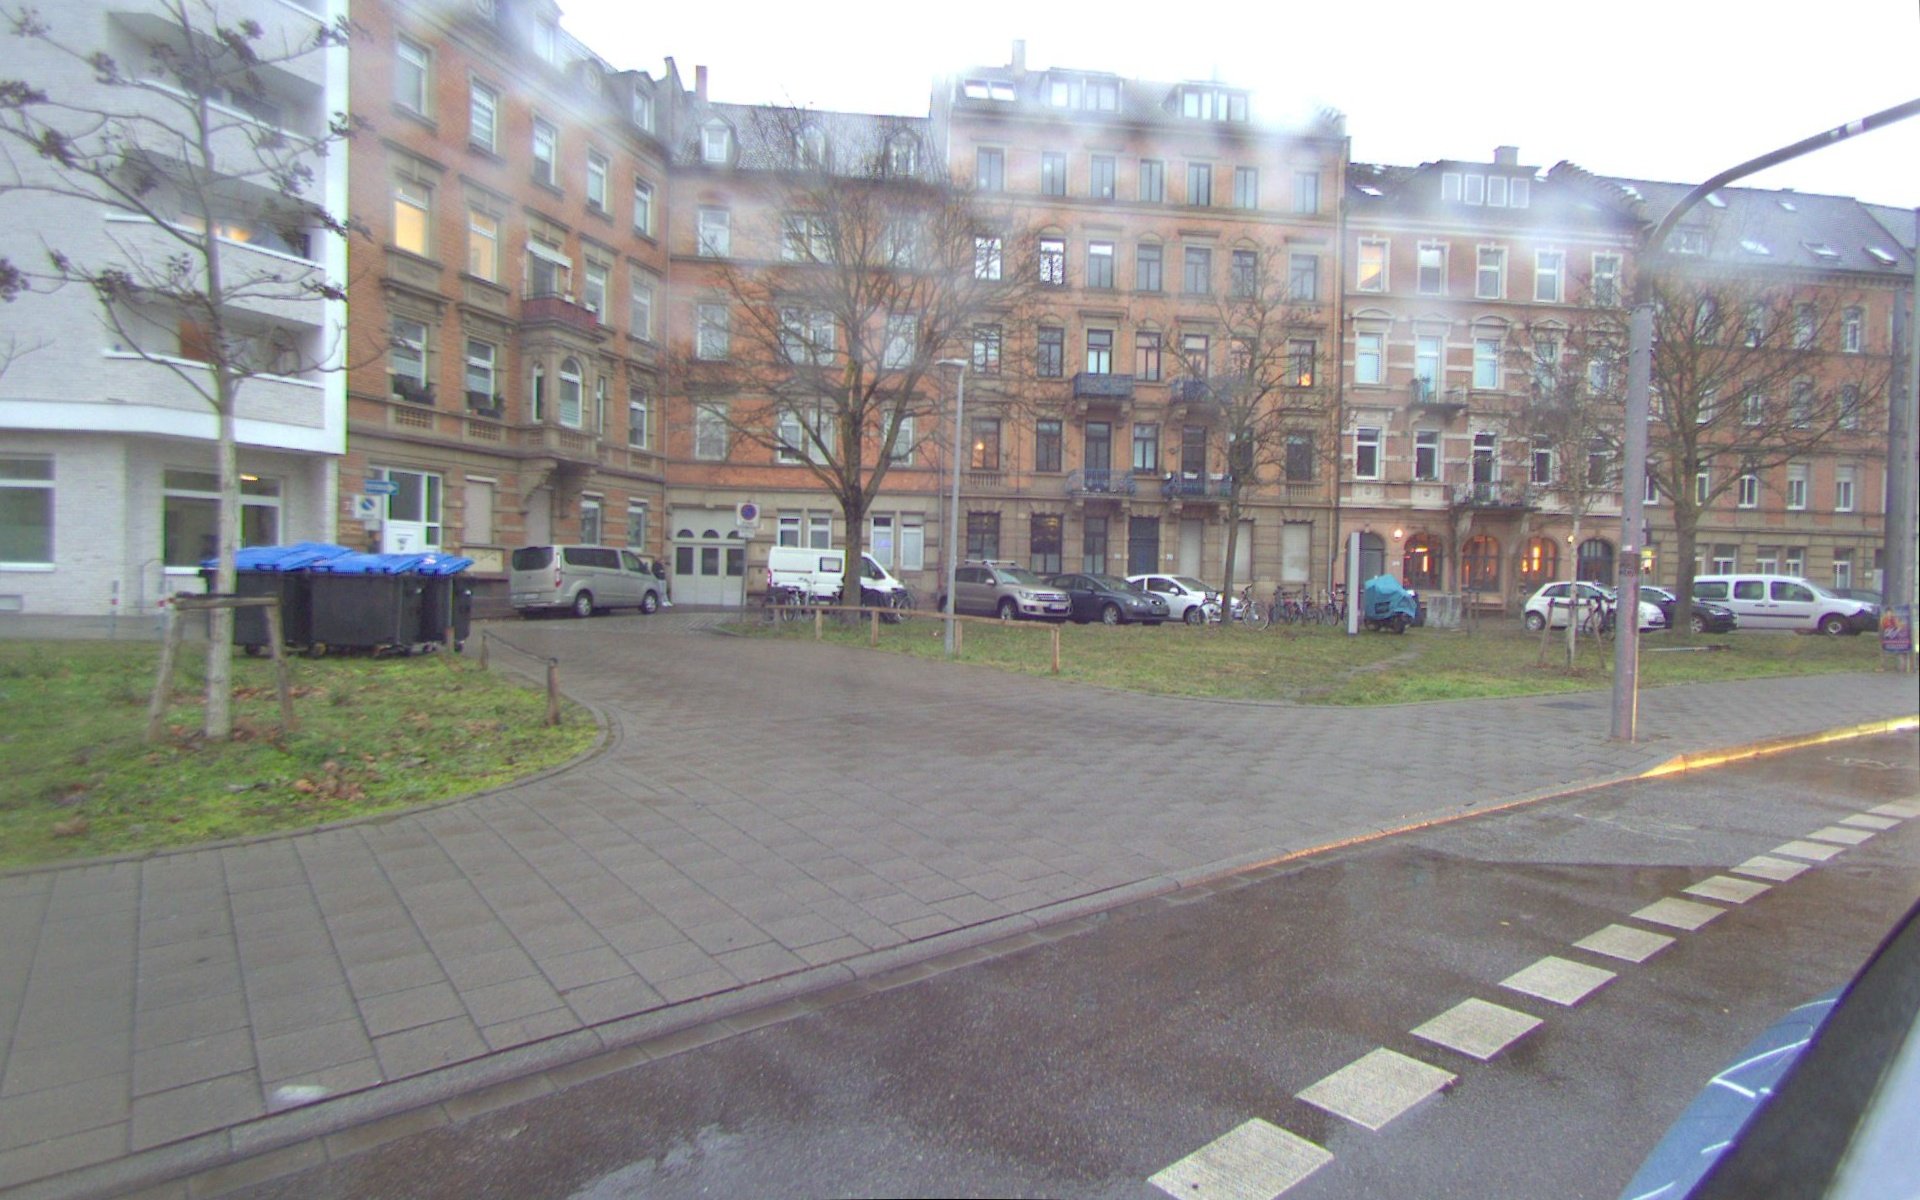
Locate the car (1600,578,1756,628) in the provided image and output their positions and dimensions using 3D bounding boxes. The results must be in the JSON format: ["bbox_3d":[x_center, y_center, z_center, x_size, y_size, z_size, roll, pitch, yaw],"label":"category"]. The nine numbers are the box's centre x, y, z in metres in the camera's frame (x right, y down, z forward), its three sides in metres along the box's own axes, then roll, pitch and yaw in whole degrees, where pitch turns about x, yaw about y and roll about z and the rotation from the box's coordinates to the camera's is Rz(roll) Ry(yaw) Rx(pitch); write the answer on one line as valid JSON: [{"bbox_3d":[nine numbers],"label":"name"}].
[{"bbox_3d":[20.989,0.071,29.678,1.634,1.368,3.430,1,0,-39],"label":"car"}]

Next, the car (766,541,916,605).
[{"bbox_3d":[-4.057,-0.924,34.492,4.885,2.038,2.003,1,2,-7],"label":"car"}]

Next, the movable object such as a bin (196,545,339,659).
[{"bbox_3d":[-9.581,0.014,14.055,1.303,1.514,1.031,0,1,0],"label":"movable object such as a bin"}]

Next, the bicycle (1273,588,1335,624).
[{"bbox_3d":[9.949,0.157,29.360,0.613,0.978,2.175,3,-1,-13],"label":"bicycle"}]

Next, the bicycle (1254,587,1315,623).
[{"bbox_3d":[9.330,0.134,29.220,0.613,0.978,2.175,3,-1,-13],"label":"bicycle"}]

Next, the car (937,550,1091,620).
[{"bbox_3d":[1.330,-0.457,26.445,1.908,1.656,3.999,-1,3,-37],"label":"car"}]

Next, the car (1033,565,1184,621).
[{"bbox_3d":[3.856,-0.186,26.662,1.649,1.372,3.737,2,0,-42],"label":"car"}]

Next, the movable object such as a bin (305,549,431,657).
[{"bbox_3d":[-8.283,0.019,14.216,1.200,1.433,1.018,1,2,-3],"label":"movable object such as a bin"}]

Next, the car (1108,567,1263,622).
[{"bbox_3d":[6.074,-0.183,27.569,1.669,1.353,3.852,0,1,-42],"label":"car"}]

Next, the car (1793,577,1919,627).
[{"bbox_3d":[27.099,0.089,29.451,1.737,1.250,4.066,2,3,-35],"label":"car"}]

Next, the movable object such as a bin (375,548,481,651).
[{"bbox_3d":[-8.038,0.003,15.337,1.022,1.509,1.035,0,-1,6],"label":"movable object such as a bin"}]

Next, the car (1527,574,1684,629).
[{"bbox_3d":[18.412,0.051,28.984,1.583,1.461,3.467,1,0,-34],"label":"car"}]

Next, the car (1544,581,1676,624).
[{"bbox_3d":[24.217,0.113,37.740,3.967,1.520,1.740,1,-1,-9],"label":"car"}]

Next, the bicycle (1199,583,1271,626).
[{"bbox_3d":[6.624,0.103,24.420,1.628,0.948,0.512,2,1,15],"label":"bicycle"}]

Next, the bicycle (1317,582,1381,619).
[{"bbox_3d":[11.265,0.002,29.406,0.613,0.978,2.176,1,2,-13],"label":"bicycle"}]

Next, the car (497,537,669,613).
[{"bbox_3d":[-10.483,-0.620,28.593,1.976,1.943,4.715,-1,-1,21],"label":"car"}]

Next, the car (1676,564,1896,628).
[{"bbox_3d":[24.050,-0.179,29.650,1.745,1.611,4.663,0,3,-37],"label":"car"}]
